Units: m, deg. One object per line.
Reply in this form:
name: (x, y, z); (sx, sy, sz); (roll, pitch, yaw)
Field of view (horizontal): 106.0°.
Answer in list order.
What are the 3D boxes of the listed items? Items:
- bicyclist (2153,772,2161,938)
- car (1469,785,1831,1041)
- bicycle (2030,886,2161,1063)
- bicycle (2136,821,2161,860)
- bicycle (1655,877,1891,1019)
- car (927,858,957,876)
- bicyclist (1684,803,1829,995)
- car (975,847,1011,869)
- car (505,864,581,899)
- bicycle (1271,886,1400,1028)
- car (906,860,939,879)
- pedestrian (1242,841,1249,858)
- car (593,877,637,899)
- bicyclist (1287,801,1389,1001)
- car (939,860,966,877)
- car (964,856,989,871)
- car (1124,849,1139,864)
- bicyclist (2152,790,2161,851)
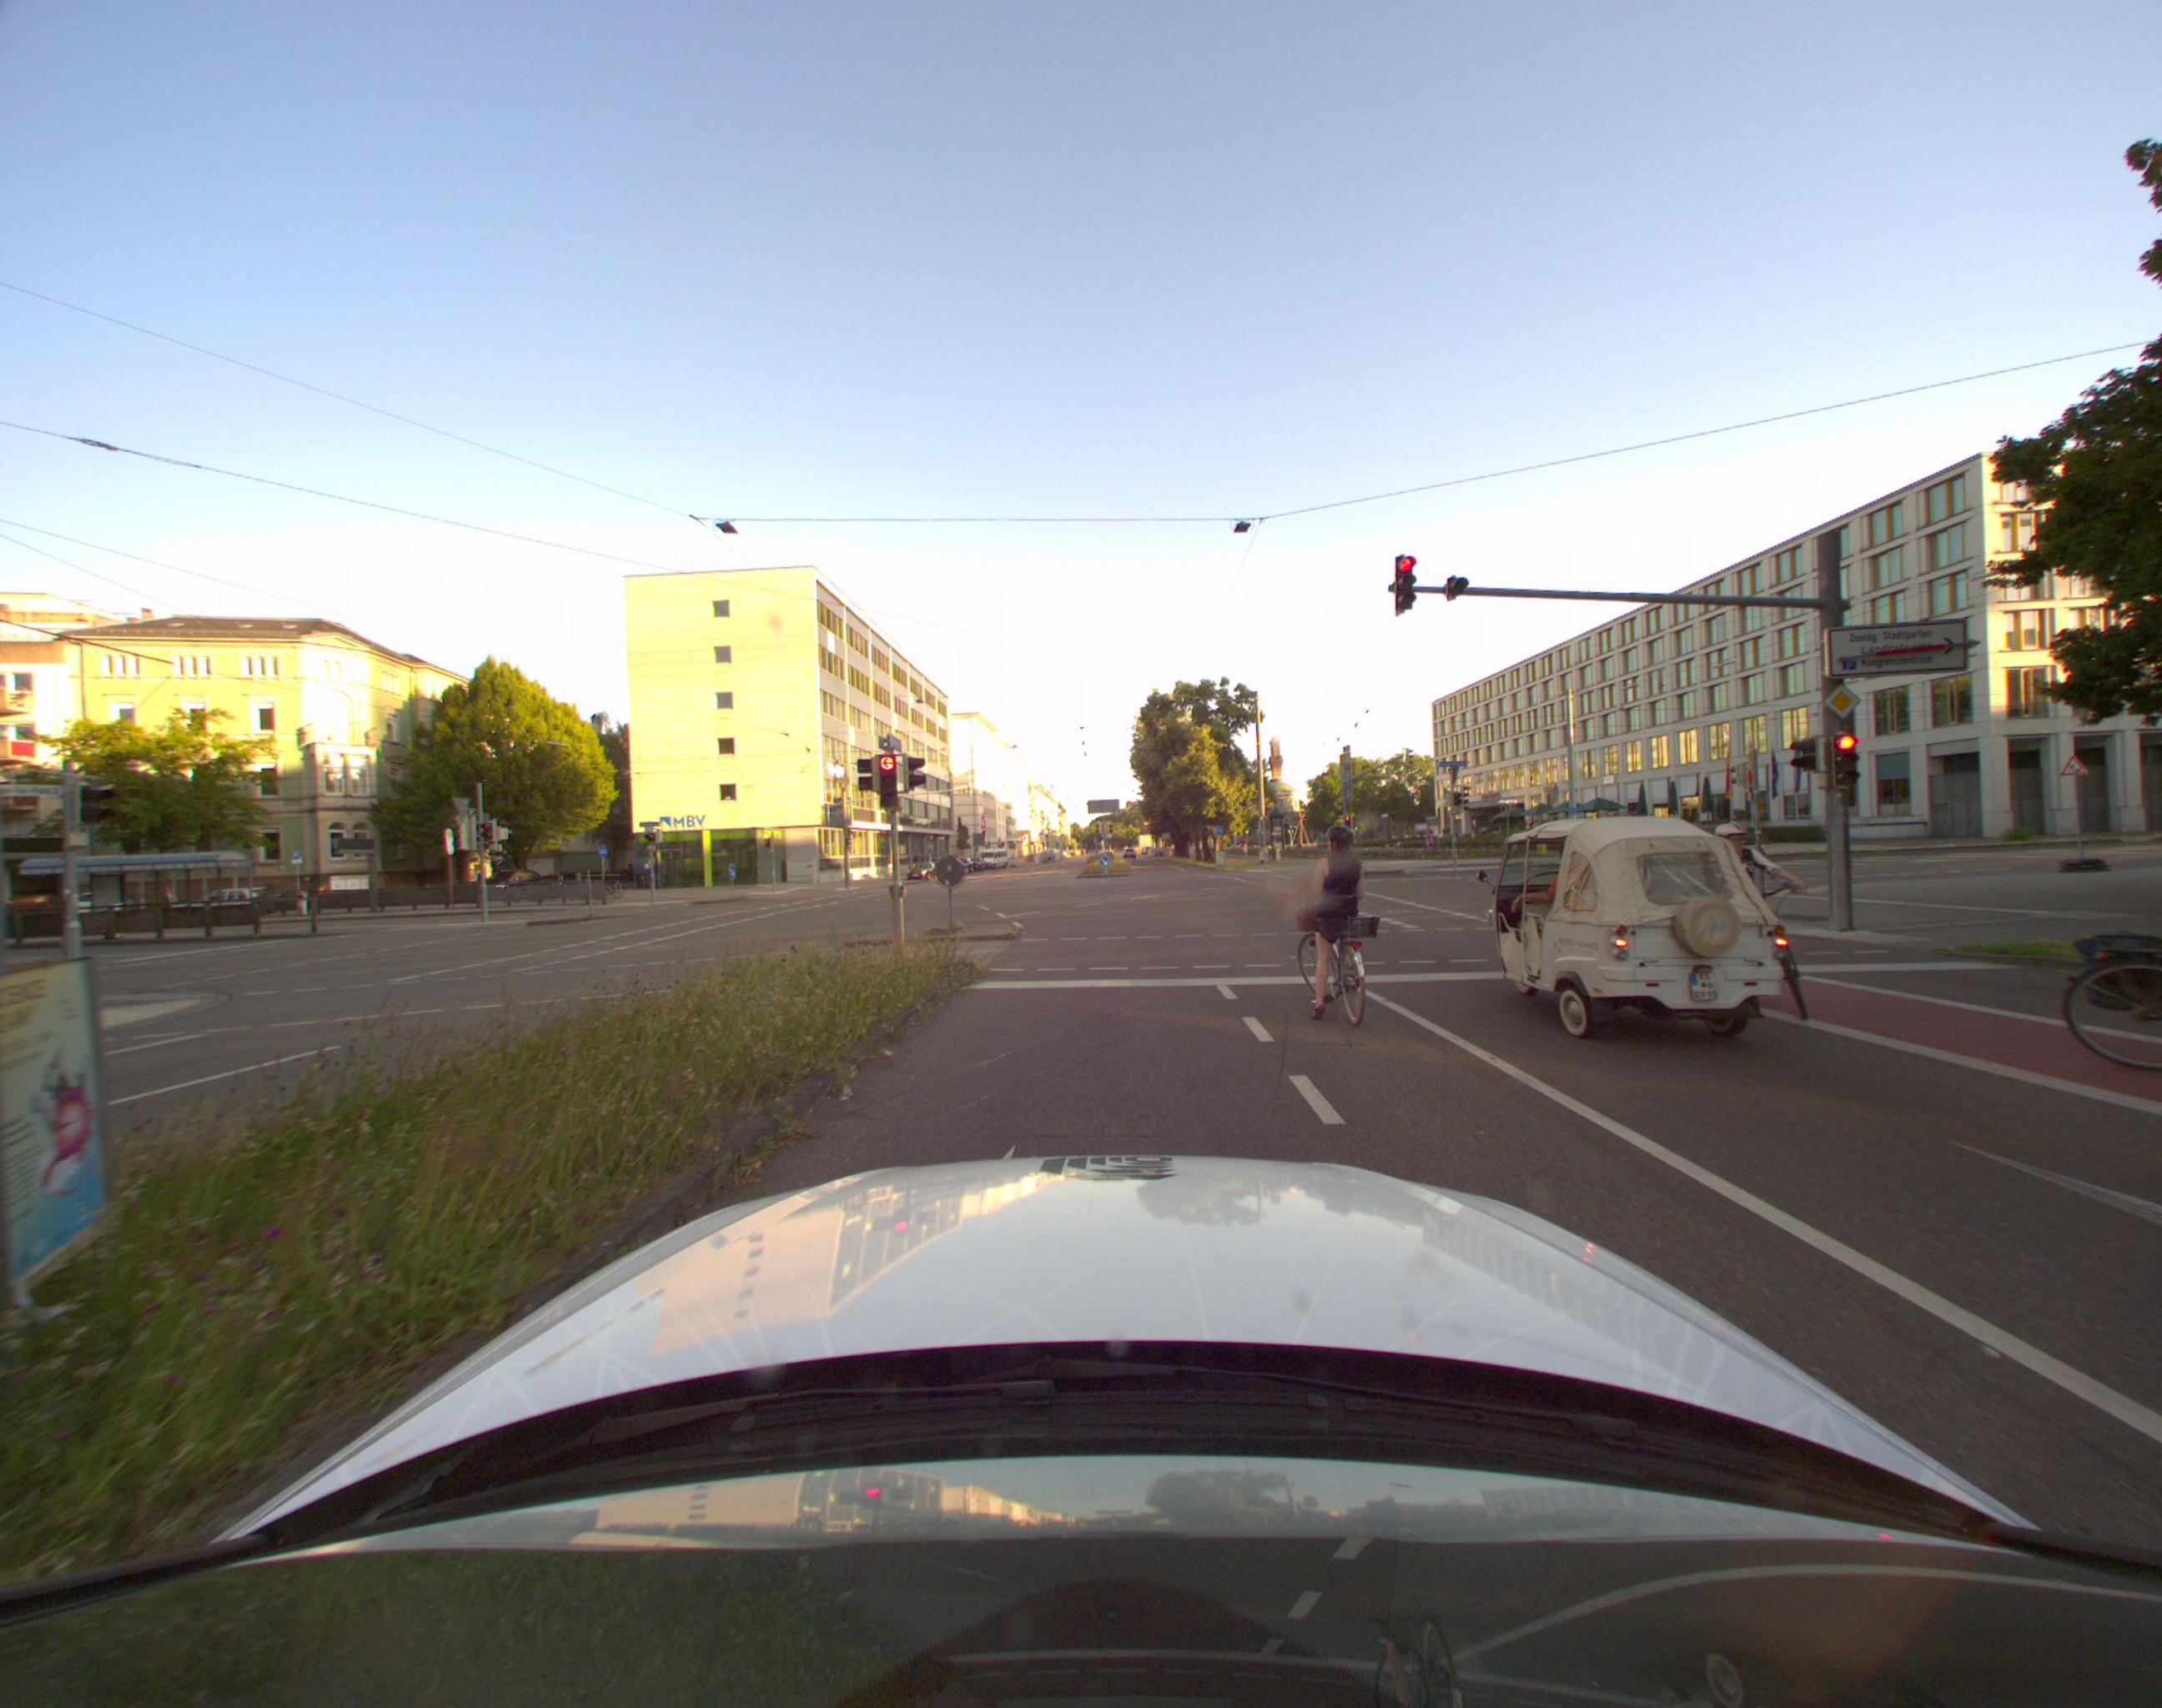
bicyclist: (7.354, 0.296, 5.046); (0.769, 1.693, 0.739); (-2, 0, -42)
car: (4.631, 0.396, 7.047); (1.452, 1.780, 2.568); (-2, 1, 5)
bicycle: (7.357, 0.774, 5.056); (0.735, 1.069, 1.880); (-1, 0, -42)
bicycle: (30.648, -0.386, 22.508); (1.887, 1.069, 0.732); (-2, 0, 5)
bicycle: (6.300, 0.791, 7.591); (0.724, 1.069, 2.027); (-1, 0, 9)
car: (-12.477, 1.222, 73.180); (1.789, 1.475, 4.001); (-3, -2, 2)
bicyclist: (6.288, 0.404, 7.626); (0.708, 1.693, 0.751); (-3, 0, 10)
car: (-10.404, 0.520, 96.896); (2.161, 2.385, 6.011); (-3, -2, 14)
car: (-34.467, 1.715, 52.308); (1.986, 2.013, 4.002); (-3, 0, 1)
bicycle: (2.350, 0.893, 7.773); (0.635, 1.069, 2.070); (-1, 0, 2)
car: (-13.105, 1.308, 67.396); (1.789, 1.475, 4.001); (-3, -2, 2)
pedestrian: (17.315, -0.479, 85.728); (0.506, 1.668, 0.531); (-3, 0, 1)
car: (-25.380, 1.831, 44.427); (0.850, 1.073, 2.523); (-3, 0, 2)
bicyclist: (2.305, 0.400, 7.377); (0.626, 1.693, 0.749); (-3, 0, 1)
car: (-12.257, 1.403, 78.025); (1.789, 1.475, 4.001); (-3, -2, 2)
car: (-11.544, 1.092, 90.328); (1.787, 1.475, 4.006); (-3, -2, 6)
car: (7.363, 0.378, 118.889); (1.986, 2.013, 4.001); (-3, 0, 1)
bicyclist: (30.504, -0.940, 22.523); (0.742, 1.693, 0.716); (-3, 0, 5)
